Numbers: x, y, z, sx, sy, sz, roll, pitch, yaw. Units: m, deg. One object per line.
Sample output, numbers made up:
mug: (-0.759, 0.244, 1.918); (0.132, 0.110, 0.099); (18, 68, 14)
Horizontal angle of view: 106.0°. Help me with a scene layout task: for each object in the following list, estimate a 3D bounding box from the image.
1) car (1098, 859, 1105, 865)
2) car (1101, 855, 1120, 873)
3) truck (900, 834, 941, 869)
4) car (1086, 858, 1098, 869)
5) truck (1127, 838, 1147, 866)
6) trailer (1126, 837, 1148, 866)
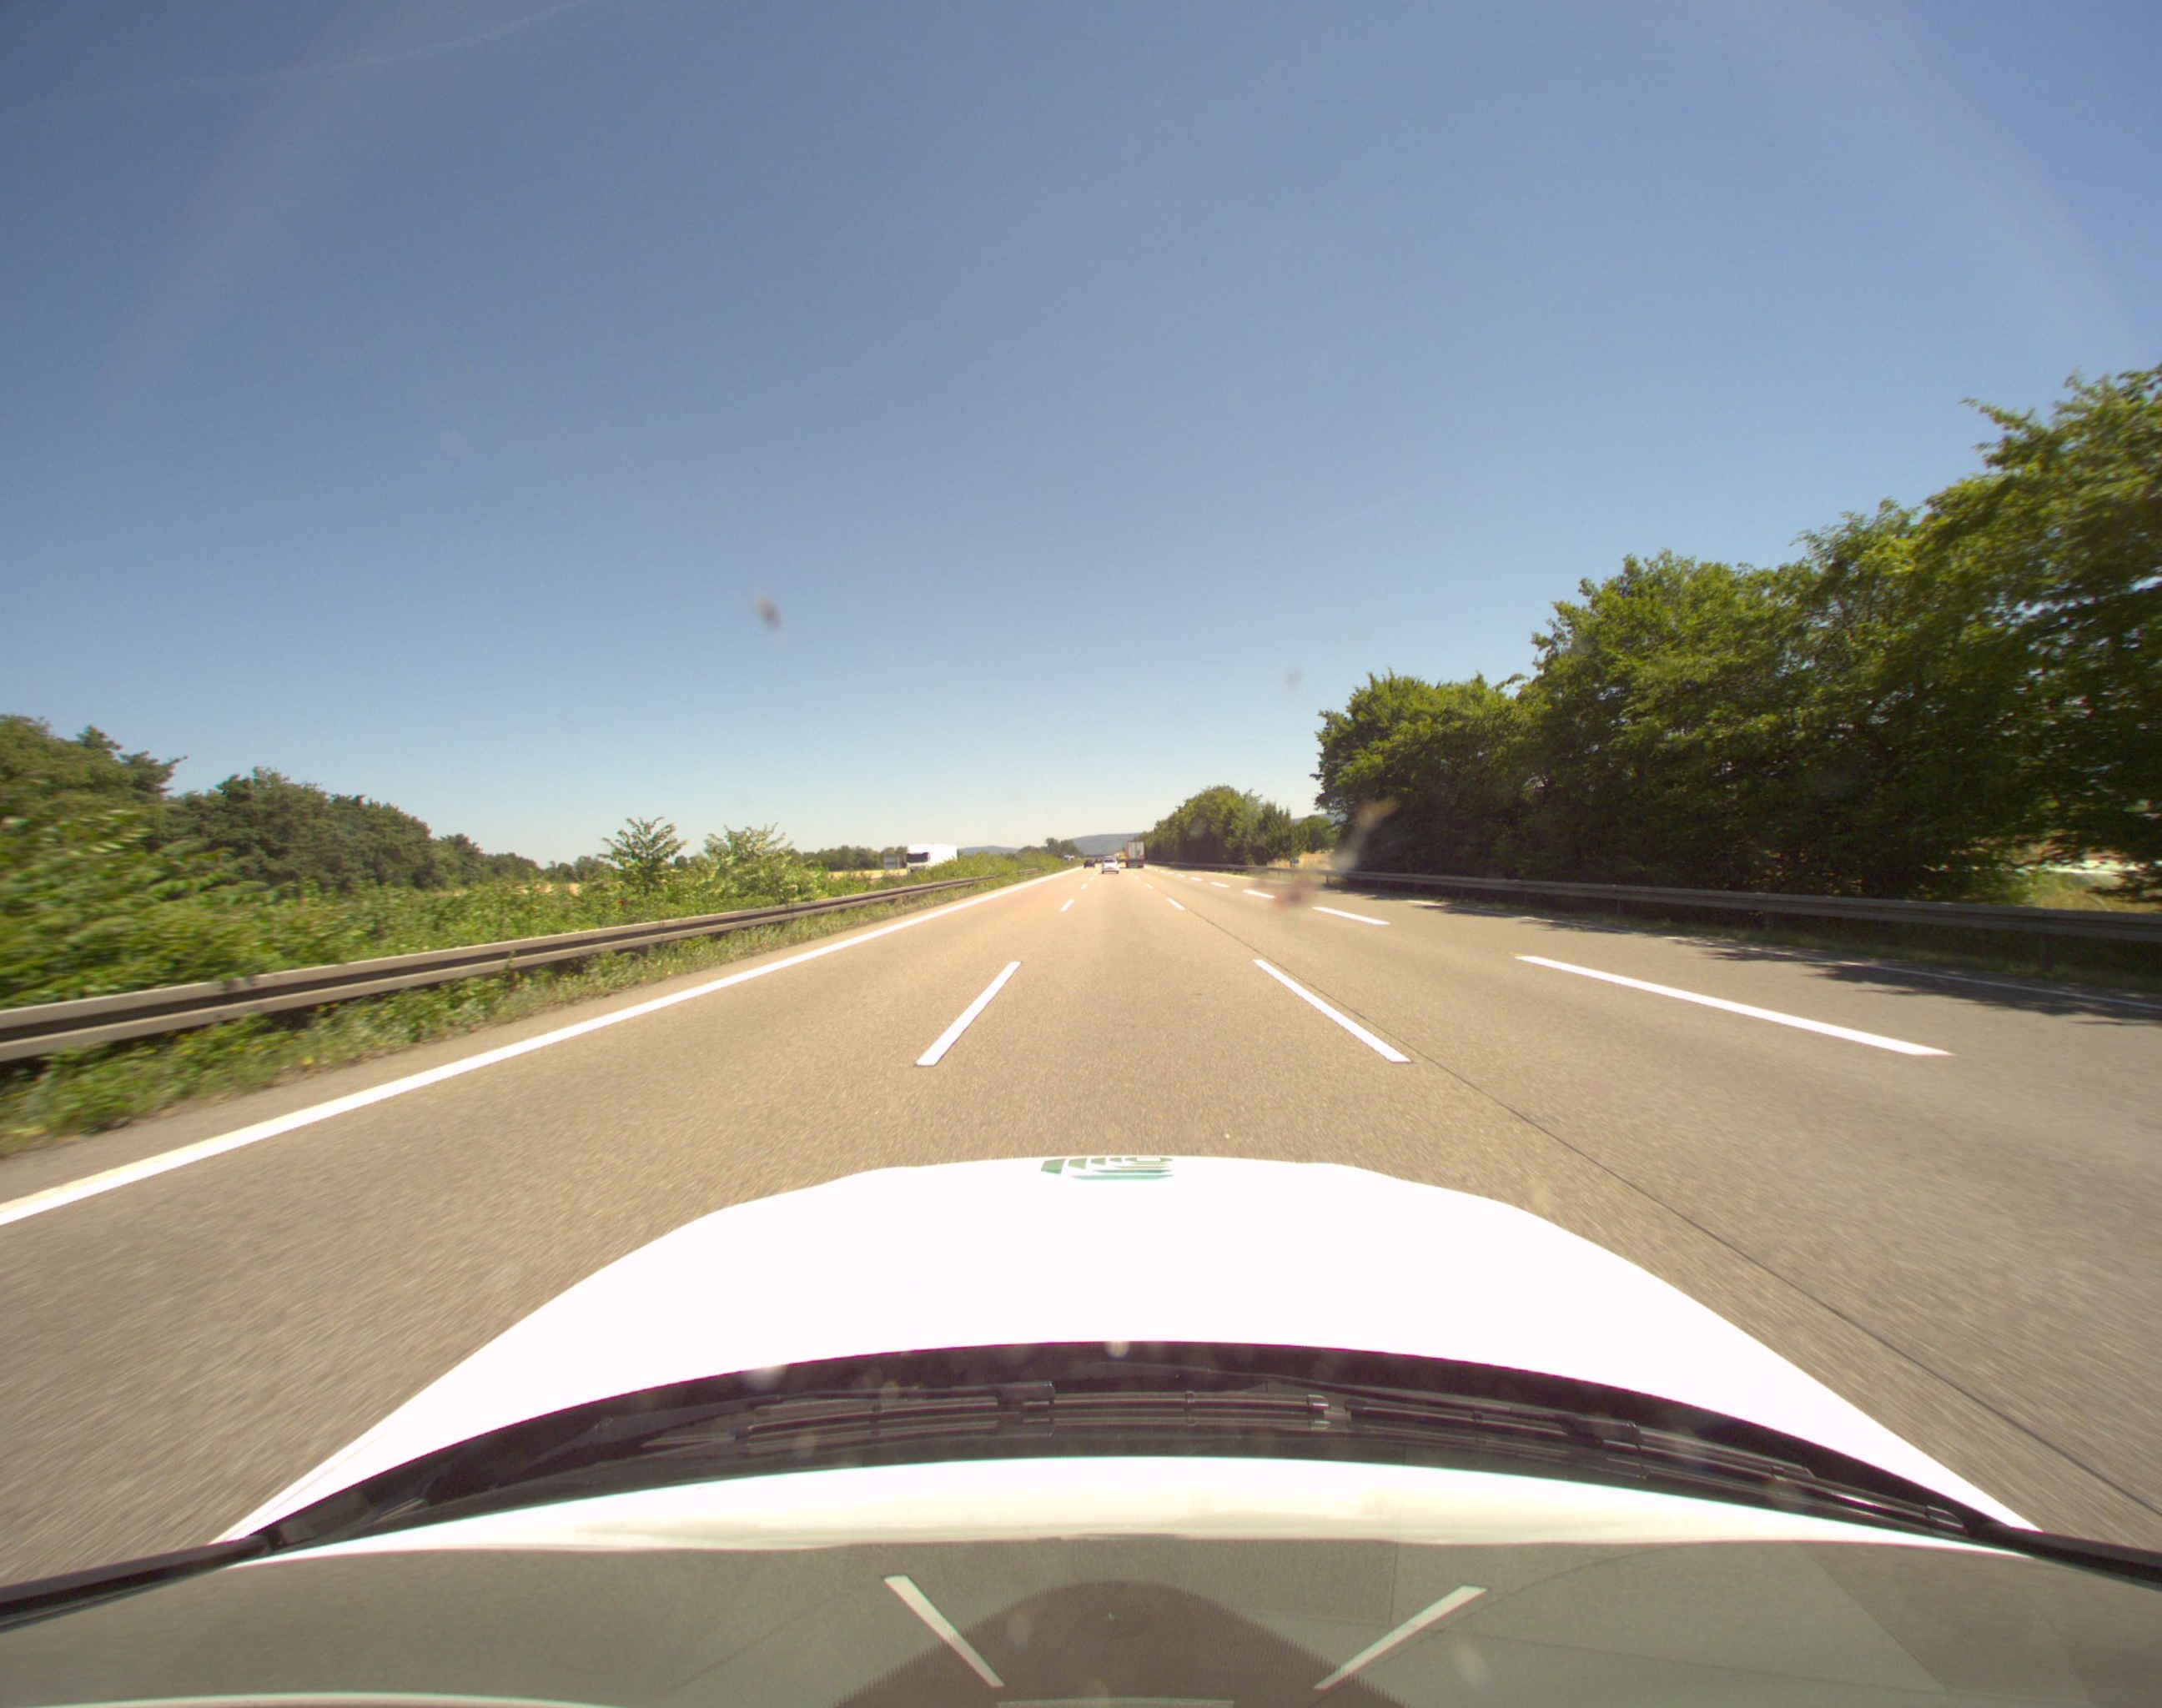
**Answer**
car: (5.999, 2.372, 238.854); (1.788, 1.551, 4.001); (-1, -1, 2)
car: (2.955, 0.957, 81.699); (1.726, 1.684, 4.001); (-2, 0, 1)
truck: (-17.364, -0.229, 88.466); (3.168, 3.699, 6.038); (0, 0, 1)
car: (1.813, 1.558, 135.028); (1.986, 1.712, 4.000); (0, 0, 1)
truck: (9.196, -0.303, 134.276); (3.204, 4.345, 6.597); (0, 0, 4)
trailer: (8.678, -0.348, 126.806); (3.203, 4.345, 13.643); (0, 0, 4)
